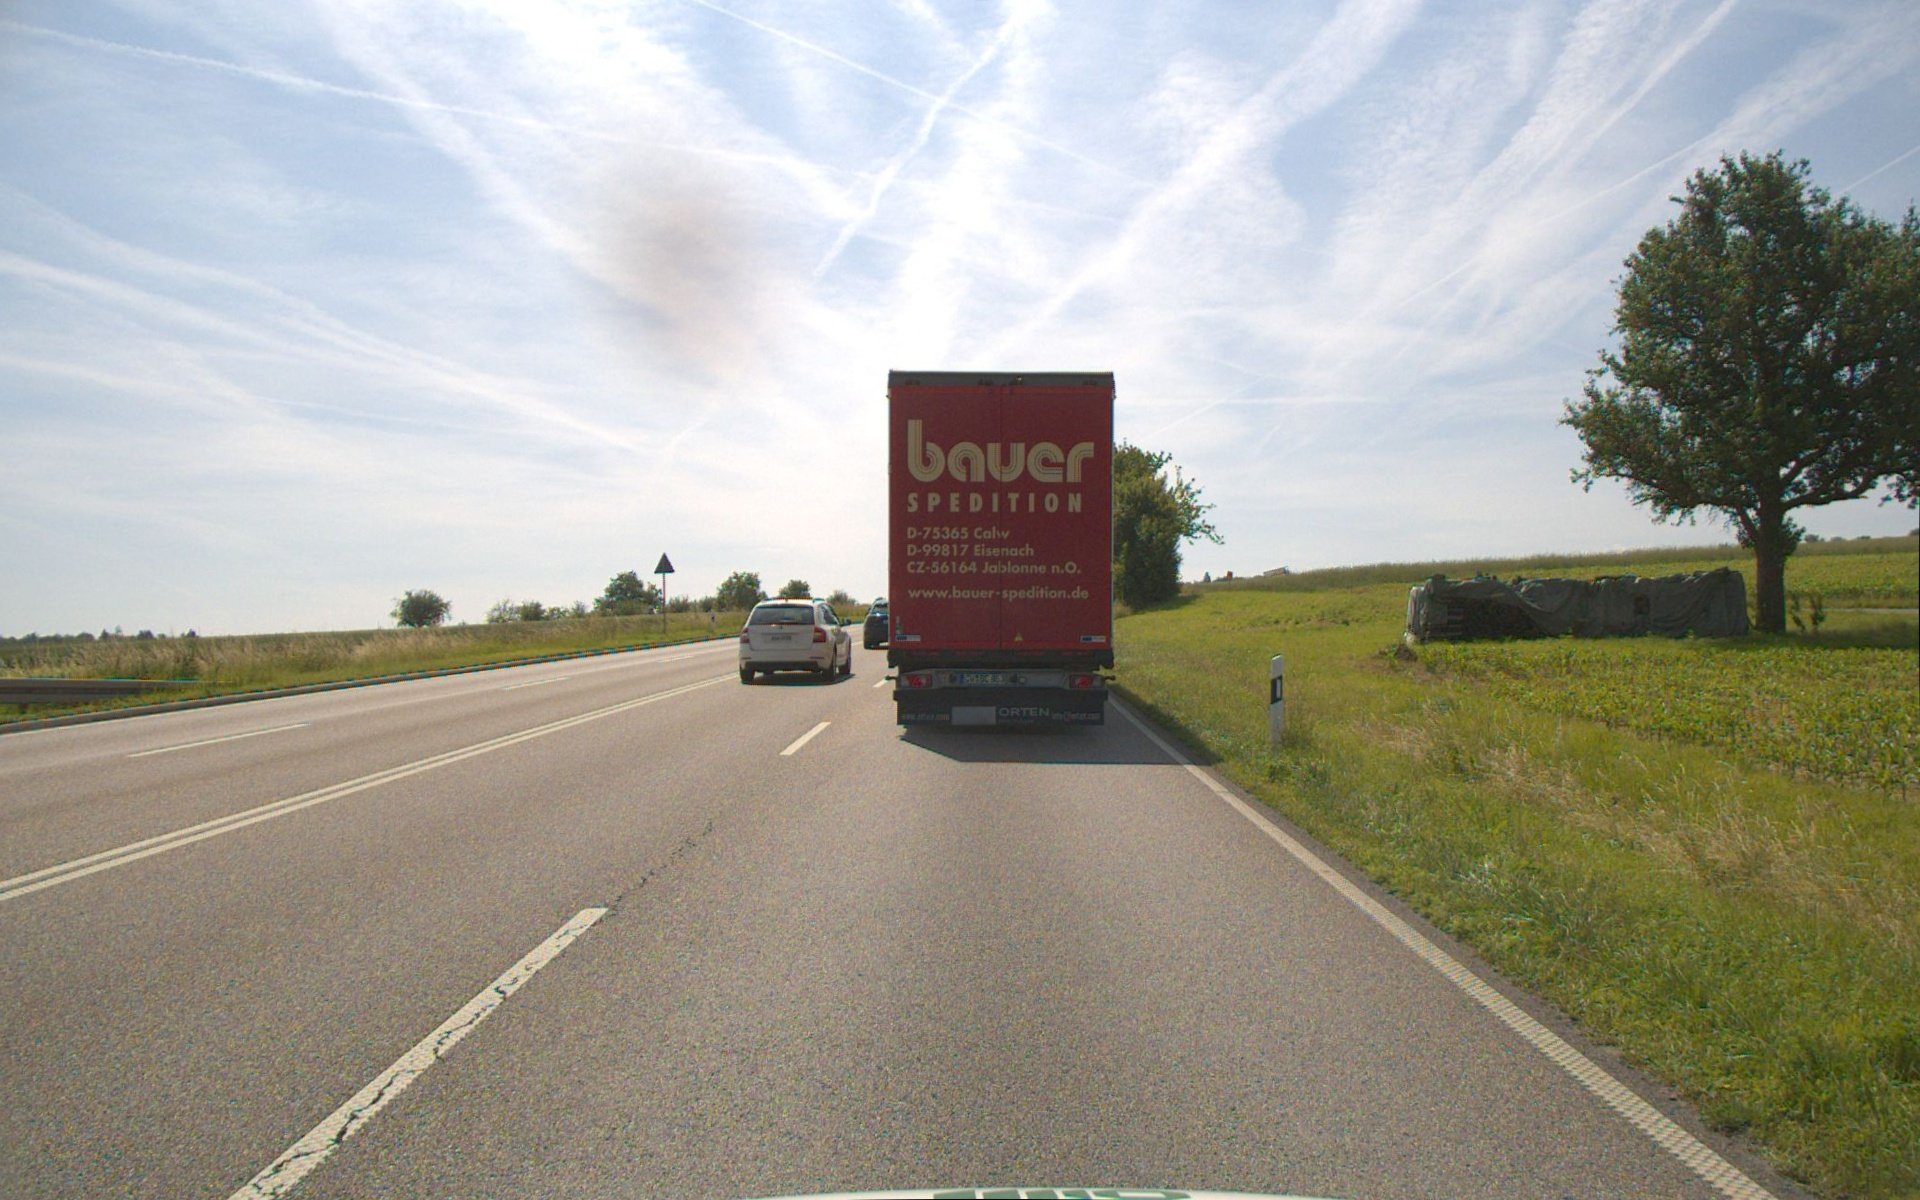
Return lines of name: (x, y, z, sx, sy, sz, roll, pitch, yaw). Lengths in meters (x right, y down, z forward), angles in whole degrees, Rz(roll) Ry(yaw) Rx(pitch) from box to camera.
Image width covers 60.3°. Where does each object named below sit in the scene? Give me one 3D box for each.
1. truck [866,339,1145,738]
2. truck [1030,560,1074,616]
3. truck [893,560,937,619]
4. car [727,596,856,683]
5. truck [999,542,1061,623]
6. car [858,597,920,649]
truck: (0.631, -0.636, 26.166, 2.945, 4.253, 16.715, 1, 0, 1)
truck: (7.203, -0.847, 126.839, 2.983, 3.979, 18.407, 0, 0, 4)
truck: (-3.304, -0.778, 121.947, 2.562, 4.173, 6.091, -1, 0, 4)
car: (-3.081, 0.687, 31.209, 1.783, 1.498, 4.790, 1, 0, 2)
truck: (3.937, -0.838, 89.497, 2.983, 3.979, 15.622, 0, 0, 4)
car: (-2.119, 0.673, 50.534, 1.670, 1.498, 4.811, 0, 0, 0)
